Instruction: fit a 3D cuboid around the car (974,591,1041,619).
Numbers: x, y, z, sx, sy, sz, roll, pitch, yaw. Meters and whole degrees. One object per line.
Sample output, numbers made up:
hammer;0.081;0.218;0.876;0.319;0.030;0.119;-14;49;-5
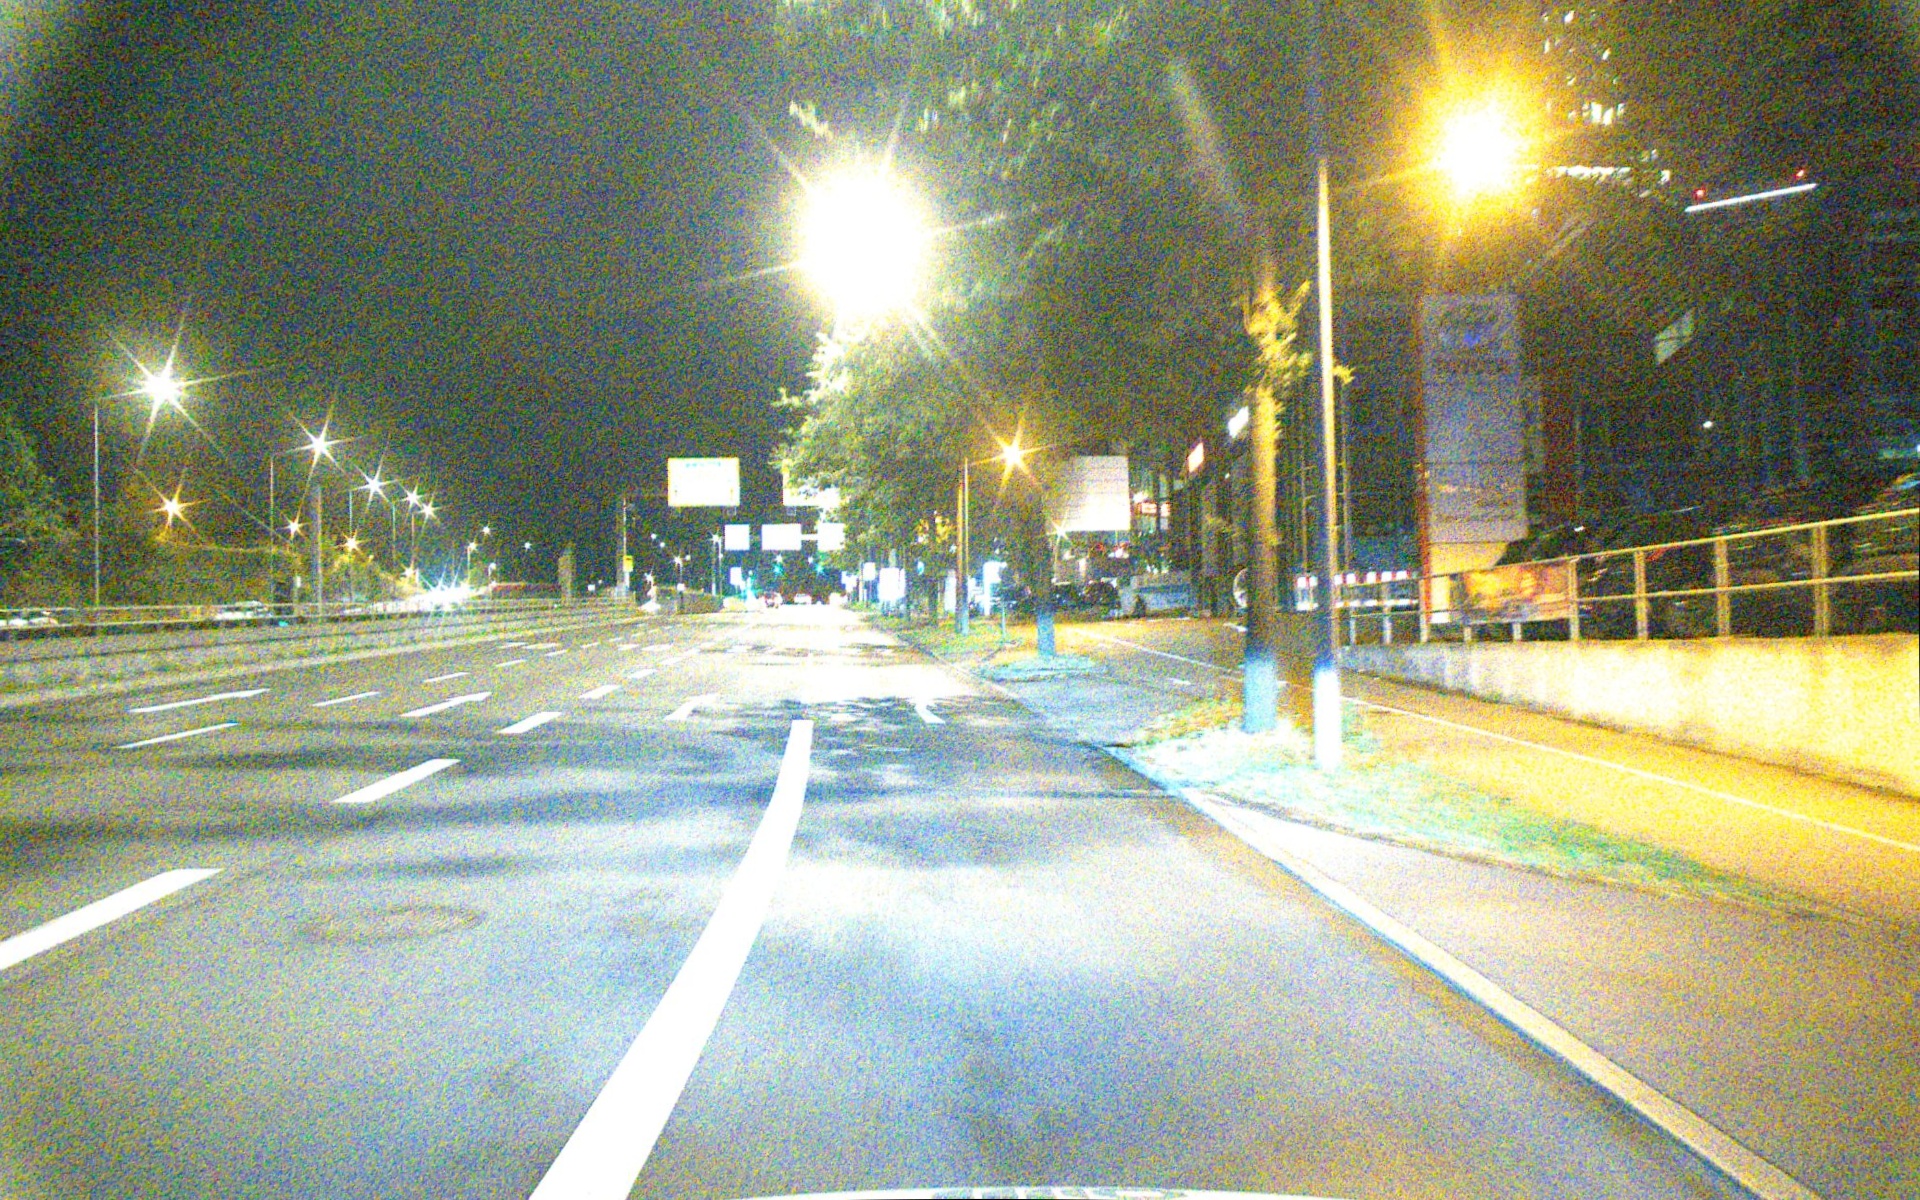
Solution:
car;2.703;0.310;94.572;3.557;1.477;1.704;1;-2;-9

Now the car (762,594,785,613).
car;-18.333;0.353;162.624;1.928;1.741;3.997;1;-2;-3

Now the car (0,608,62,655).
car;-36.074;1.198;63.063;1.796;1.714;3.994;1;-2;-6

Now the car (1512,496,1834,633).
car;9.414;-0.444;21.971;3.496;1.597;1.723;-3;-1;-9

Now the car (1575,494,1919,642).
car;9.374;-0.354;19.348;3.654;1.515;1.739;-2;-2;-7

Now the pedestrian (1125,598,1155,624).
pedestrian;7.358;0.438;67.454;0.983;1.025;0.767;1;-2;-20

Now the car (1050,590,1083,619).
car;6.196;0.275;96.512;1.853;1.538;3.636;1;-2;2

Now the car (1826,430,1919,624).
car;9.968;-0.693;14.396;3.908;1.599;1.737;-3;-2;-4

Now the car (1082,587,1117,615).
car;8.238;0.064;97.974;1.853;1.538;3.636;1;-2;2

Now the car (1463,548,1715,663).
car;9.596;0.070;25.155;3.800;1.516;1.718;-2;-3;-36

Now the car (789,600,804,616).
car;-22.295;1.107;226.049;1.955;2.049;3.995;1;-2;-5

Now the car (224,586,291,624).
car;-33.704;0.259;79.418;1.765;1.724;3.995;1;-1;-5

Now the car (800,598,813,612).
car;-21.639;0.733;233.542;1.746;1.758;3.995;1;-2;-5

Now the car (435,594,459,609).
car;-53.750;0.154;173.458;1.593;1.507;3.675;1;-2;-4

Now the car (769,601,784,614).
car;-24.406;1.052;220.166;1.954;1.624;3.995;-1;-2;-5

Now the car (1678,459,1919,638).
car;9.599;-0.547;16.892;3.676;1.615;1.778;-3;-2;-6

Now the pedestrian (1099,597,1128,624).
pedestrian;6.230;0.432;67.300;0.896;1.057;0.768;-2;-1;38

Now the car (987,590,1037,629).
car;2.834;0.551;89.358;1.951;1.979;4.003;0;-2;12
